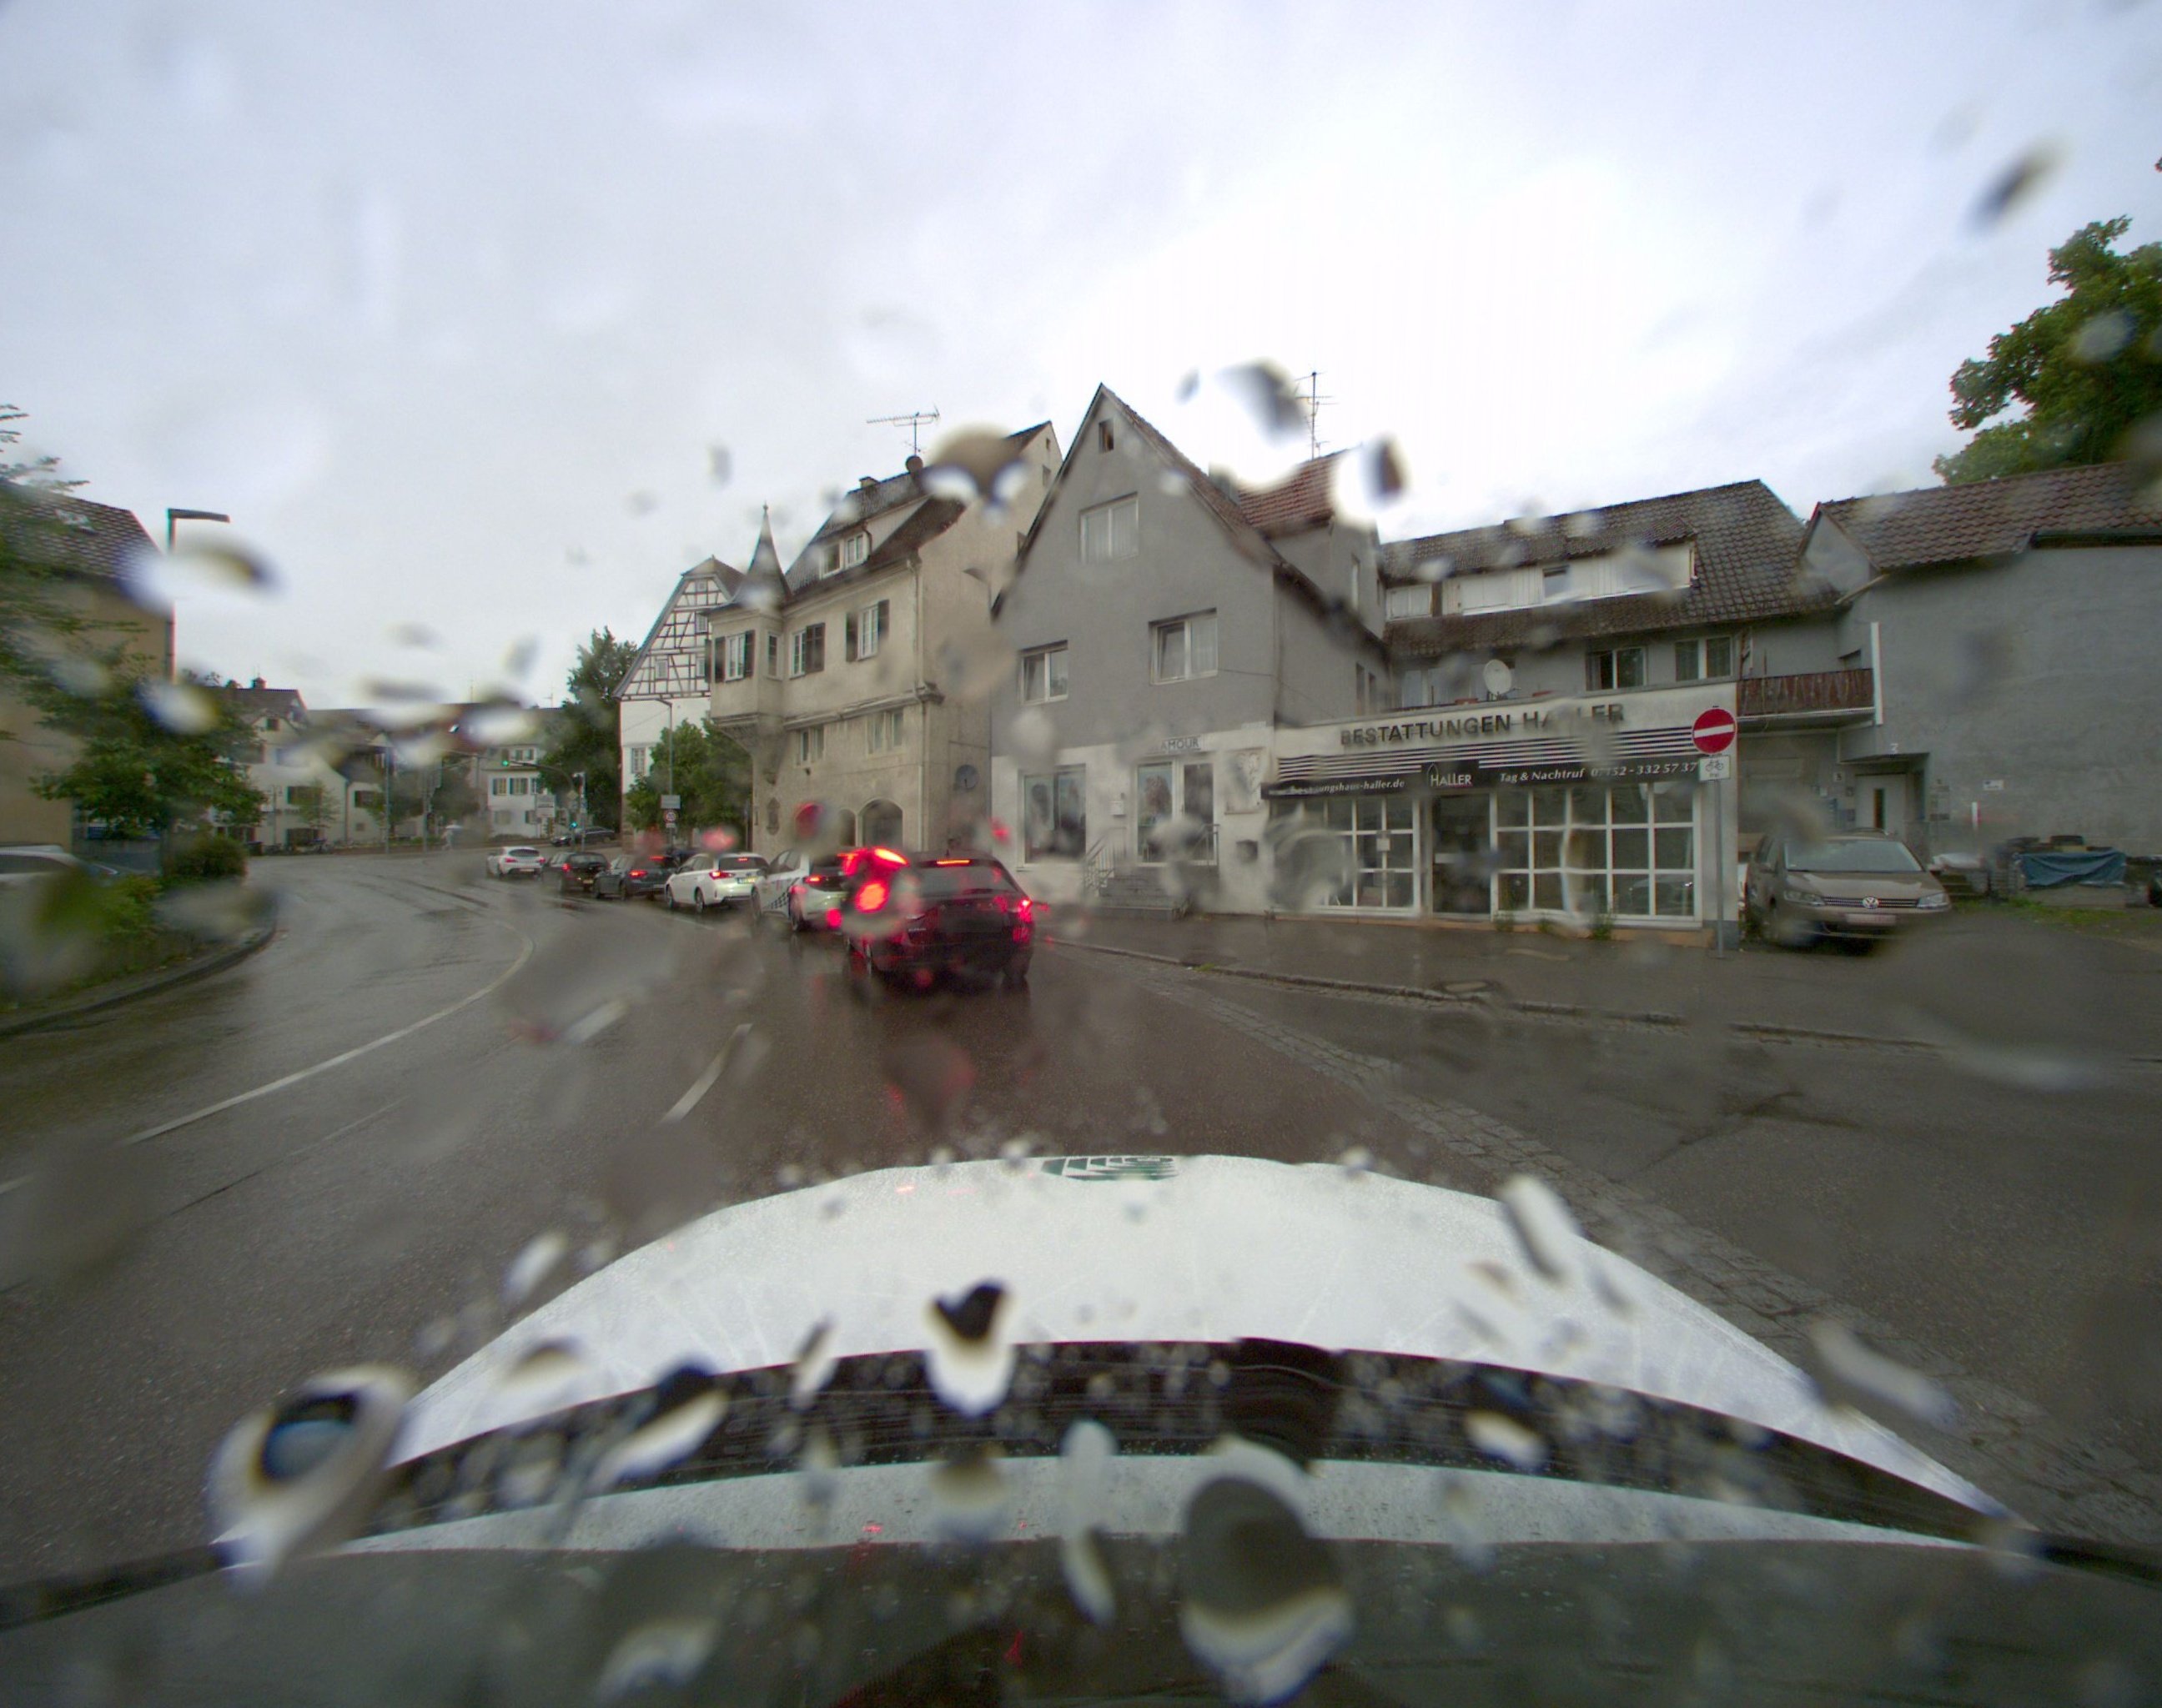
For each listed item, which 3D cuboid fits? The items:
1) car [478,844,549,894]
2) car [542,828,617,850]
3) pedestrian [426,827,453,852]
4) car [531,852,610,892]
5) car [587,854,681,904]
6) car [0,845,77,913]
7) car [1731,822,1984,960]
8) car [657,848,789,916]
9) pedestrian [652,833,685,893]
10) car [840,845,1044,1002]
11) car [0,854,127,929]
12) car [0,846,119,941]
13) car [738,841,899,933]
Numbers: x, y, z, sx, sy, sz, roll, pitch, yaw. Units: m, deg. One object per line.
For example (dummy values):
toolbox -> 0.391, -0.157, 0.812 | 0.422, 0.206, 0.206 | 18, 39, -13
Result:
car -> -26.196, 0.628, 37.550 | 1.991, 2.090, 3.912 | -3, 2, -45
car -> -37.554, -1.092, 61.140 | 1.632, 1.389, 4.555 | 7, 3, 23
pedestrian -> -44.474, -0.993, 56.489 | 0.992, 1.742, 1.156 | -1, 0, 27
car -> -18.939, 0.631, 30.158 | 3.579, 1.312, 1.678 | 1, 2, 44
car -> -14.141, 0.736, 25.682 | 3.721, 1.361, 1.533 | 1, 2, 44
car -> -26.205, 0.611, 18.734 | 1.692, 1.576, 3.558 | 0, 1, 24
car -> 11.718, 0.394, 12.698 | 1.905, 1.727, 4.698 | -1, 2, 32
car -> -9.126, 0.621, 20.592 | 1.801, 1.465, 4.114 | -3, 2, -42
pedestrian -> -16.324, 0.348, 32.210 | 0.872, 2.326, 1.216 | -1, 0, -40
car -> -1.948, 0.652, 10.177 | 1.738, 1.450, 4.212 | -2, 2, -21
car -> -22.399, 0.768, 16.530 | 1.692, 1.455, 3.558 | 0, 1, 24
car -> -20.134, 0.715, 14.465 | 1.692, 1.685, 3.558 | 0, 1, 24
car -> -5.314, 0.572, 16.136 | 1.803, 1.517, 4.194 | -2, 1, -36
